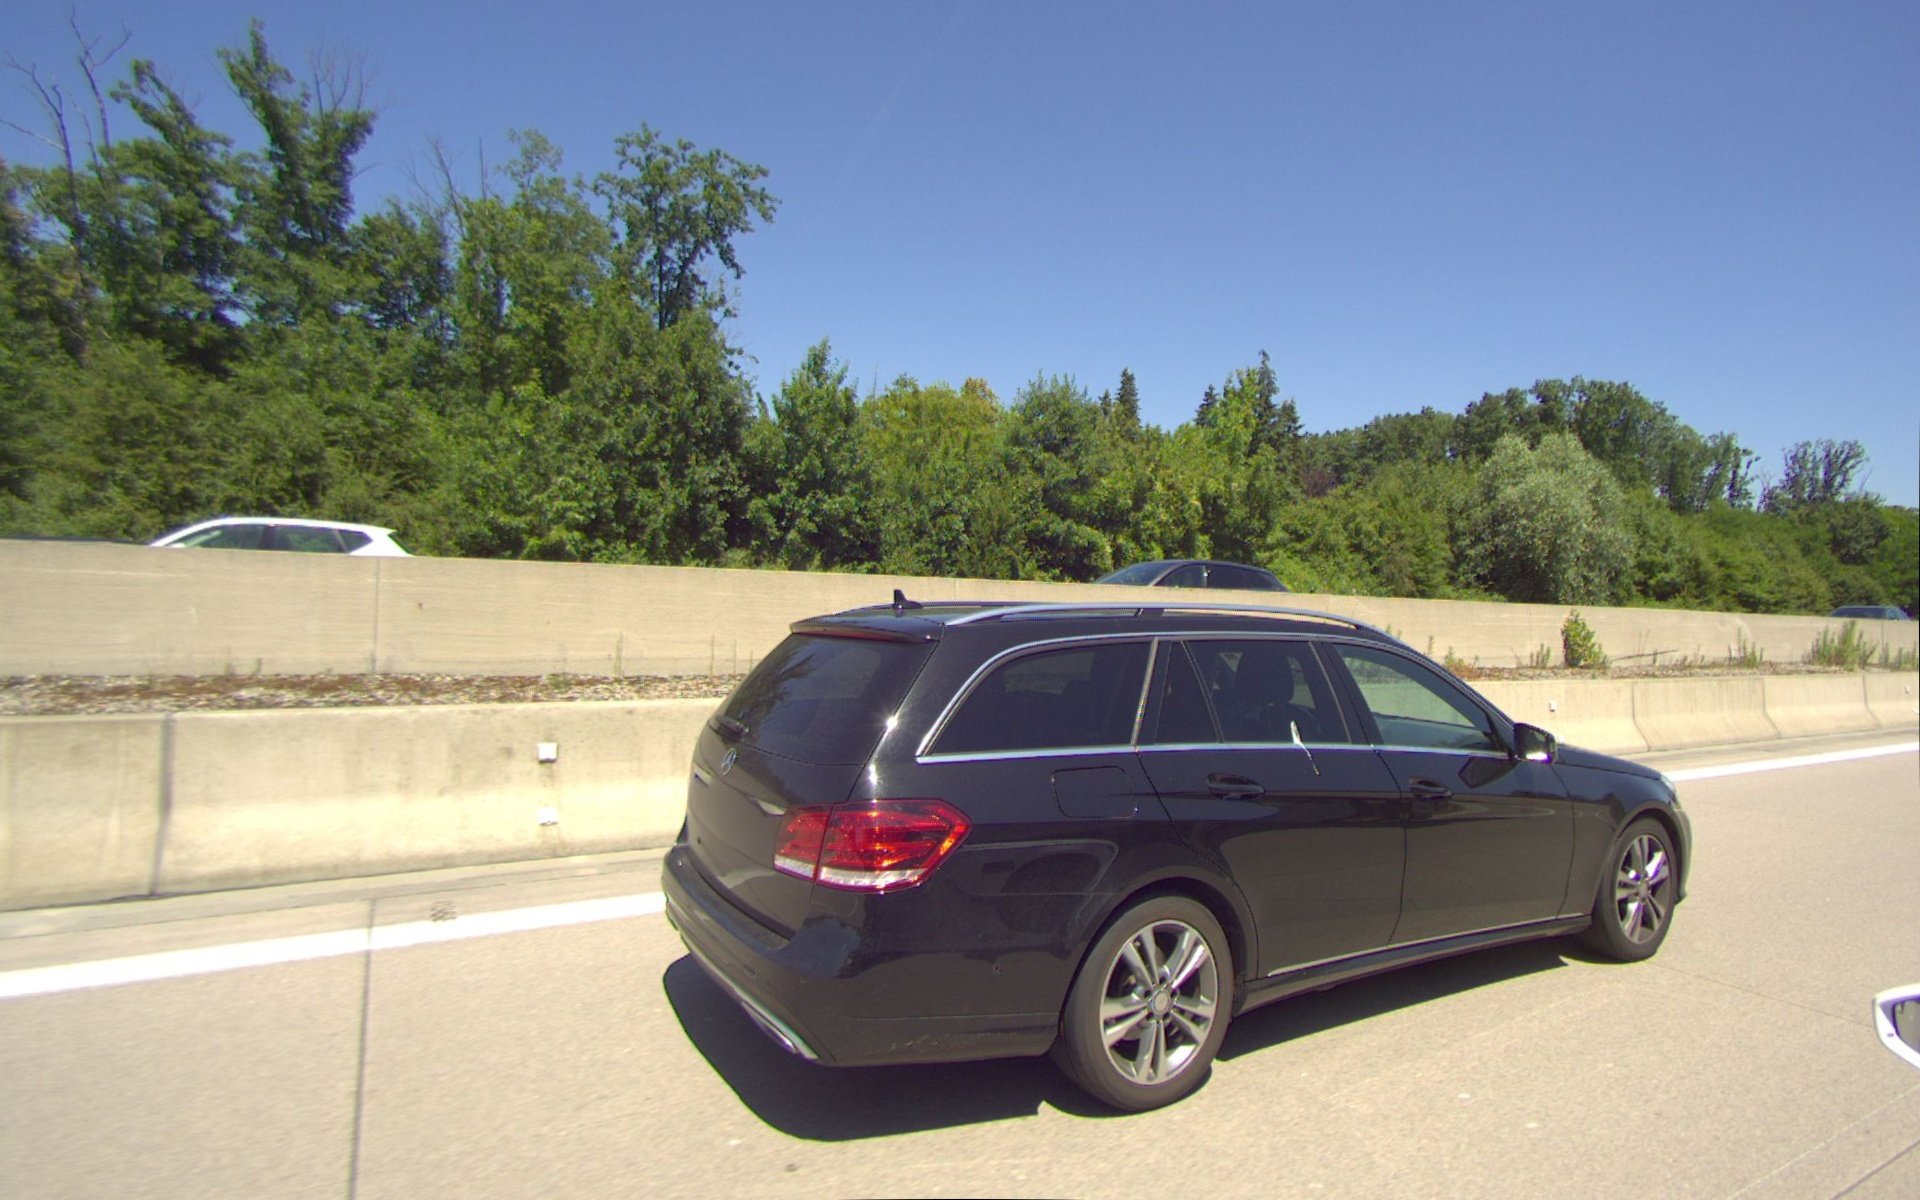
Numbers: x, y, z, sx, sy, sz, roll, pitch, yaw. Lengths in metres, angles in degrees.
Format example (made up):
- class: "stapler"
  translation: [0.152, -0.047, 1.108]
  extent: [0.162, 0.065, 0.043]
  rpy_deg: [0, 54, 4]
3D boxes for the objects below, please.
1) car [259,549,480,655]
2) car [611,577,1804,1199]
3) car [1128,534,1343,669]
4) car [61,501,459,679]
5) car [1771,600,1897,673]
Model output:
- class: "car"
  translation: [-10.407, 0.067, 17.865]
  extent: [3.235, 1.737, 1.425]
  rpy_deg: [2, 0, -31]
- class: "car"
  translation: [1.499, 0.744, 4.515]
  extent: [5.540, 1.493, 1.881]
  rpy_deg: [1, -1, -32]
- class: "car"
  translation: [4.613, 0.059, 16.712]
  extent: [3.479, 2.040, 1.425]
  rpy_deg: [2, 0, -31]
- class: "car"
  translation: [-8.950, -0.069, 13.267]
  extent: [4.056, 2.040, 1.626]
  rpy_deg: [2, 0, -31]
- class: "car"
  translation: [26.165, 1.075, 30.020]
  extent: [4.731, 2.040, 1.425]
  rpy_deg: [2, 0, -31]
